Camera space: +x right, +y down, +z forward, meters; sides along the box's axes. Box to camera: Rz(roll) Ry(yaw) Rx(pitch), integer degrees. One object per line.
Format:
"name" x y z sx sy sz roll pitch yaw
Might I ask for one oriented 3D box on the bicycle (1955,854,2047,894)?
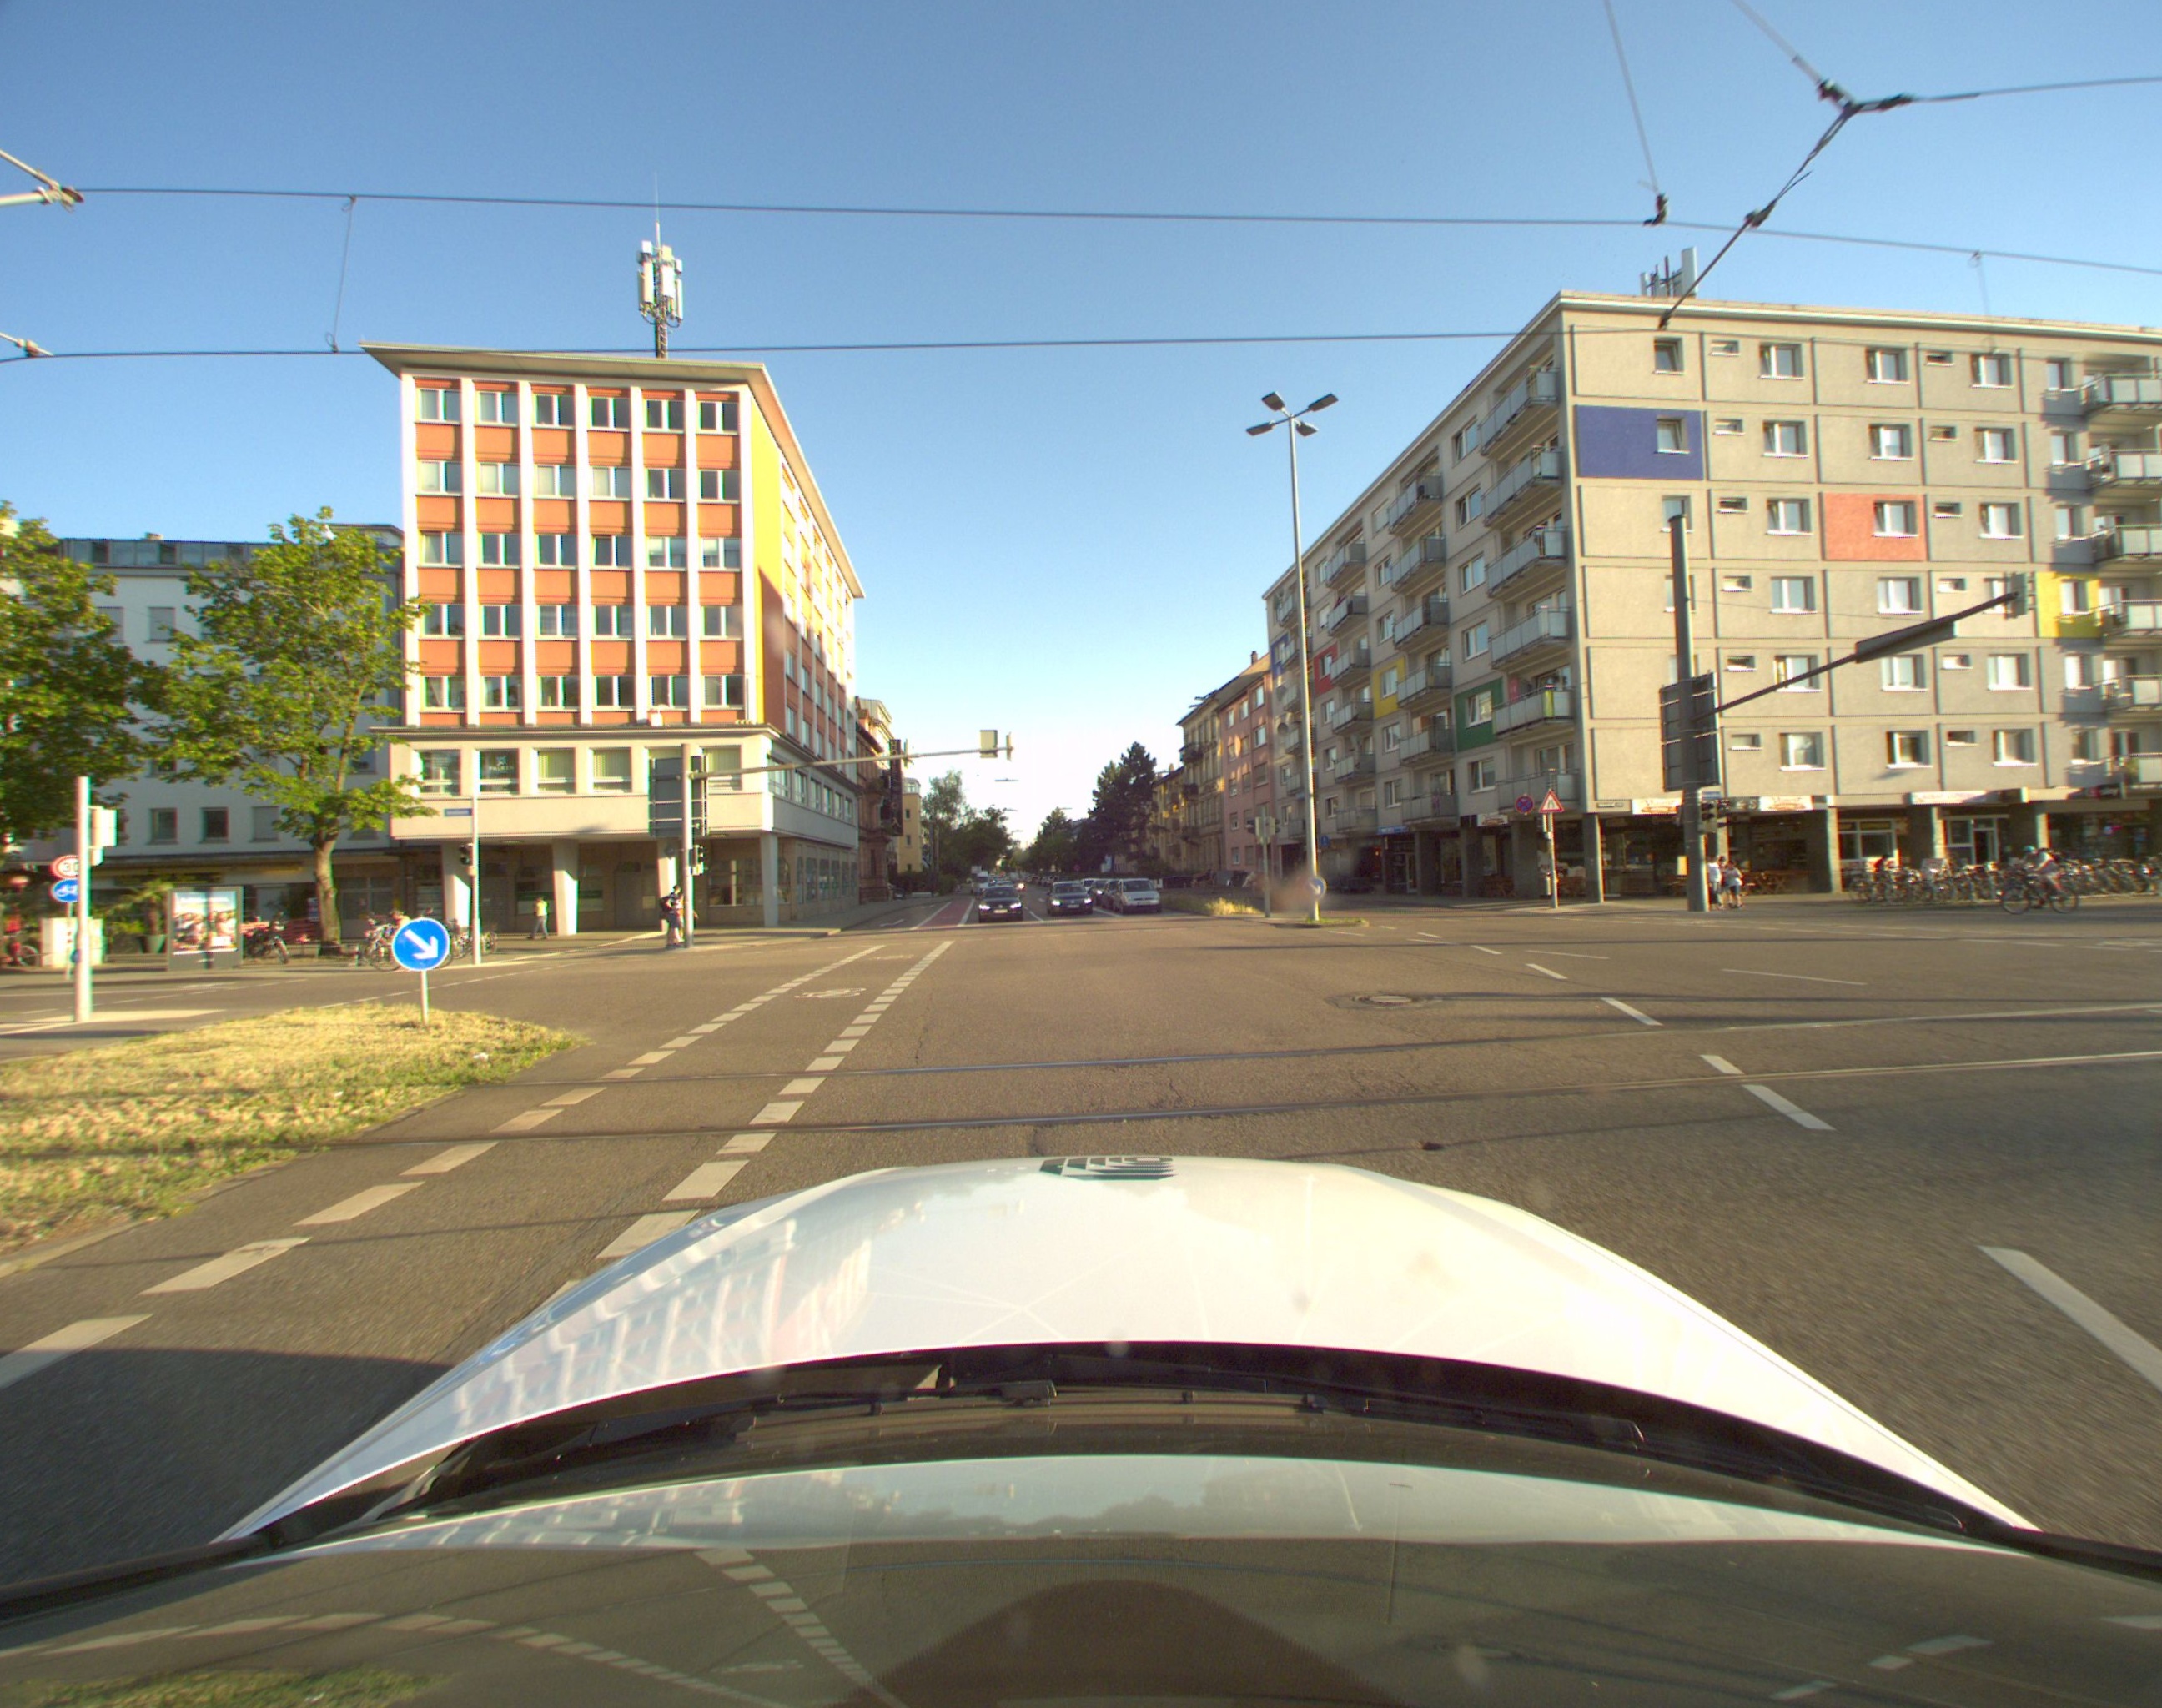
"bicycle" 27.895 0.599 24.729 0.603 1.159 1.777 -2 -1 -8

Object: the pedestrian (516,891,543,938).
"pedestrian" -21.755 2.387 32.130 0.638 1.791 0.583 -2 -1 -9

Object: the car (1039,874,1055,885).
"car" -5.213 3.925 124.626 1.992 1.518 4.210 -2 -1 -7

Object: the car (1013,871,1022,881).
"car" -16.089 5.500 205.775 1.991 2.376 3.991 -2 -1 -6

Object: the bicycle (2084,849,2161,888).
"bicycle" 32.529 0.442 25.221 0.745 1.170 1.692 -2 -1 -6

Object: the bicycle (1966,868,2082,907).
"bicycle" 23.367 0.823 20.196 1.932 0.882 0.706 -2 -1 4

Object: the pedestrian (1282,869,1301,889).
"pedestrian" 13.287 1.569 51.389 0.857 1.170 0.790 -2 -1 -7

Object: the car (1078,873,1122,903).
"car" 1.006 1.811 44.567 1.990 1.486 3.994 -2 -1 -4

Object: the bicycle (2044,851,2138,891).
"bicycle" 31.031 0.522 25.058 0.702 1.153 1.692 -2 -1 -6

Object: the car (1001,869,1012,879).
"car" -18.931 5.114 206.469 2.614 2.376 5.243 -2 -1 -6

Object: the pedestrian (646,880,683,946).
"pedestrian" -12.833 1.801 25.087 0.708 1.947 0.728 -3 -2 37

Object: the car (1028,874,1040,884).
"car" -8.903 4.637 153.290 1.992 1.834 4.210 -2 -1 -7

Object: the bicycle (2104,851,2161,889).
"bicycle" 33.255 0.502 25.304 0.693 1.144 1.692 -2 -1 -6

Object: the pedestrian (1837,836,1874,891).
"pedestrian" 24.270 0.298 25.517 0.541 1.684 0.583 -3 -2 13

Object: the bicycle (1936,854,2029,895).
"bicycle" 27.201 0.609 24.618 0.638 1.160 1.832 -2 -1 -7

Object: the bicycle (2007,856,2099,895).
"bicycle" 29.704 0.656 24.933 0.566 1.119 1.762 -2 -1 -7

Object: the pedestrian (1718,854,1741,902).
"pedestrian" 19.040 0.703 23.914 0.397 1.383 0.378 -1 -2 -36

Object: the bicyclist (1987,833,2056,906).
"bicyclist" 23.312 0.388 20.204 0.786 1.743 0.704 -2 -1 3

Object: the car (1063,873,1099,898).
"car" -0.028 1.981 52.236 1.990 1.486 3.994 -2 -1 -4

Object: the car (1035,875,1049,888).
"car" -6.474 4.473 133.692 1.992 1.997 4.210 -2 -1 -7

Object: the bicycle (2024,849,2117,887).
"bicycle" 30.333 0.436 25.007 0.631 1.124 1.729 -1 -1 -6

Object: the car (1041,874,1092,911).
"car" -0.710 1.675 36.344 1.990 1.486 3.994 -2 -1 -4

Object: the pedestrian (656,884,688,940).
"pedestrian" -13.703 1.930 27.288 0.711 1.818 0.750 -2 -1 -8

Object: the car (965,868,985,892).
"car" -11.258 2.742 86.496 1.992 2.324 4.210 -2 -1 -7

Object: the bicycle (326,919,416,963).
"bicycle" -19.681 2.400 22.584 1.900 1.075 0.467 -2 -1 -9

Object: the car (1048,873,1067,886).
"car" -3.010 3.259 104.233 1.992 1.518 4.210 -2 -1 -7

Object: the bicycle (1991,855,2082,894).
"bicycle" 29.122 0.625 24.867 0.549 1.117 1.756 -2 -1 -7

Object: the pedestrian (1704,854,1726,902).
"pedestrian" 19.334 0.740 24.831 0.396 1.449 0.374 -1 -2 -35

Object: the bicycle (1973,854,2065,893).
"bicycle" 28.523 0.591 24.805 0.603 1.136 1.772 -2 -1 -7

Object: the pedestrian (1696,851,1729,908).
"pedestrian" 18.413 0.742 23.738 0.606 1.620 0.566 -1 -2 -39

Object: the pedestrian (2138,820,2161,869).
"pedestrian" 39.992 -0.367 30.121 0.720 1.813 0.824 -2 -2 -18

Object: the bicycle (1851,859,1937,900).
"bicycle" 24.041 0.746 24.130 0.606 1.142 1.777 -2 -1 -8

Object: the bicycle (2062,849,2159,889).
"bicycle" 31.759 0.462 25.159 0.745 1.179 1.692 -2 -1 -6

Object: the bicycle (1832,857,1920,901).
"bicycle" 23.411 0.729 24.030 0.636 1.208 1.795 -2 -1 -8

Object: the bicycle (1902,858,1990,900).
"bicycle" 25.847 0.733 24.367 0.566 1.182 1.770 -2 -1 -8

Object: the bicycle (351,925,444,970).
"bicycle" -16.893 2.309 20.176 1.670 0.944 0.505 -2 -1 -23

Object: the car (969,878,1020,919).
"car" -3.507 1.782 33.625 1.877 1.486 3.994 -2 -1 -4

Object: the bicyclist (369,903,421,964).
"bicyclist" -16.967 1.959 20.160 0.858 1.426 0.497 -2 -1 -23

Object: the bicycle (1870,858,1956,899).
"bicycle" 24.667 0.722 24.195 0.597 1.139 1.758 -2 -1 -7

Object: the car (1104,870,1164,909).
"car" 2.183 1.450 34.723 1.990 1.486 3.994 -2 -1 -4

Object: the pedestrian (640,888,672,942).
"pedestrian" -13.817 1.980 26.501 0.727 1.685 0.583 -2 -1 -10

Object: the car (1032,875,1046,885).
"car" -7.292 4.513 141.296 1.992 1.518 4.210 -2 -1 -7

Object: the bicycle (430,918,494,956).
"bicycle" -19.391 2.580 25.526 1.555 1.075 0.394 -2 -1 -9

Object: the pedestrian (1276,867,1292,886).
"pedestrian" 13.340 1.478 53.565 0.711 1.256 0.790 -2 -1 -11

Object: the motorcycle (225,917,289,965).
"motorcycle" -24.651 2.589 24.370 1.384 1.318 0.380 -2 -1 -7

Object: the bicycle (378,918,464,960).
"bicycle" -19.425 2.492 23.998 1.988 1.075 0.467 -2 -1 -9

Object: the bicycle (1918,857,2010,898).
"bicycle" 26.489 0.698 24.471 0.649 1.191 1.789 -2 -1 -8

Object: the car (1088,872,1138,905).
"car" 1.508 1.650 39.918 1.990 1.486 3.994 -2 -1 -4

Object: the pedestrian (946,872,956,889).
"pedestrian" -16.381 3.361 102.750 1.027 2.014 0.938 -2 -1 -21

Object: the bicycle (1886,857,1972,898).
"bicycle" 25.253 0.688 24.287 0.538 1.168 1.767 -2 -1 -7

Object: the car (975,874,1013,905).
"car" -4.860 1.967 45.728 1.991 1.531 3.991 -2 -1 -6

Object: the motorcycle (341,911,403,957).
"motorcycle" -23.026 2.567 26.490 0.543 1.318 1.832 -2 -1 -6

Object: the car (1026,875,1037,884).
"car" -9.956 5.139 164.564 1.992 1.518 4.210 -2 -1 -7
